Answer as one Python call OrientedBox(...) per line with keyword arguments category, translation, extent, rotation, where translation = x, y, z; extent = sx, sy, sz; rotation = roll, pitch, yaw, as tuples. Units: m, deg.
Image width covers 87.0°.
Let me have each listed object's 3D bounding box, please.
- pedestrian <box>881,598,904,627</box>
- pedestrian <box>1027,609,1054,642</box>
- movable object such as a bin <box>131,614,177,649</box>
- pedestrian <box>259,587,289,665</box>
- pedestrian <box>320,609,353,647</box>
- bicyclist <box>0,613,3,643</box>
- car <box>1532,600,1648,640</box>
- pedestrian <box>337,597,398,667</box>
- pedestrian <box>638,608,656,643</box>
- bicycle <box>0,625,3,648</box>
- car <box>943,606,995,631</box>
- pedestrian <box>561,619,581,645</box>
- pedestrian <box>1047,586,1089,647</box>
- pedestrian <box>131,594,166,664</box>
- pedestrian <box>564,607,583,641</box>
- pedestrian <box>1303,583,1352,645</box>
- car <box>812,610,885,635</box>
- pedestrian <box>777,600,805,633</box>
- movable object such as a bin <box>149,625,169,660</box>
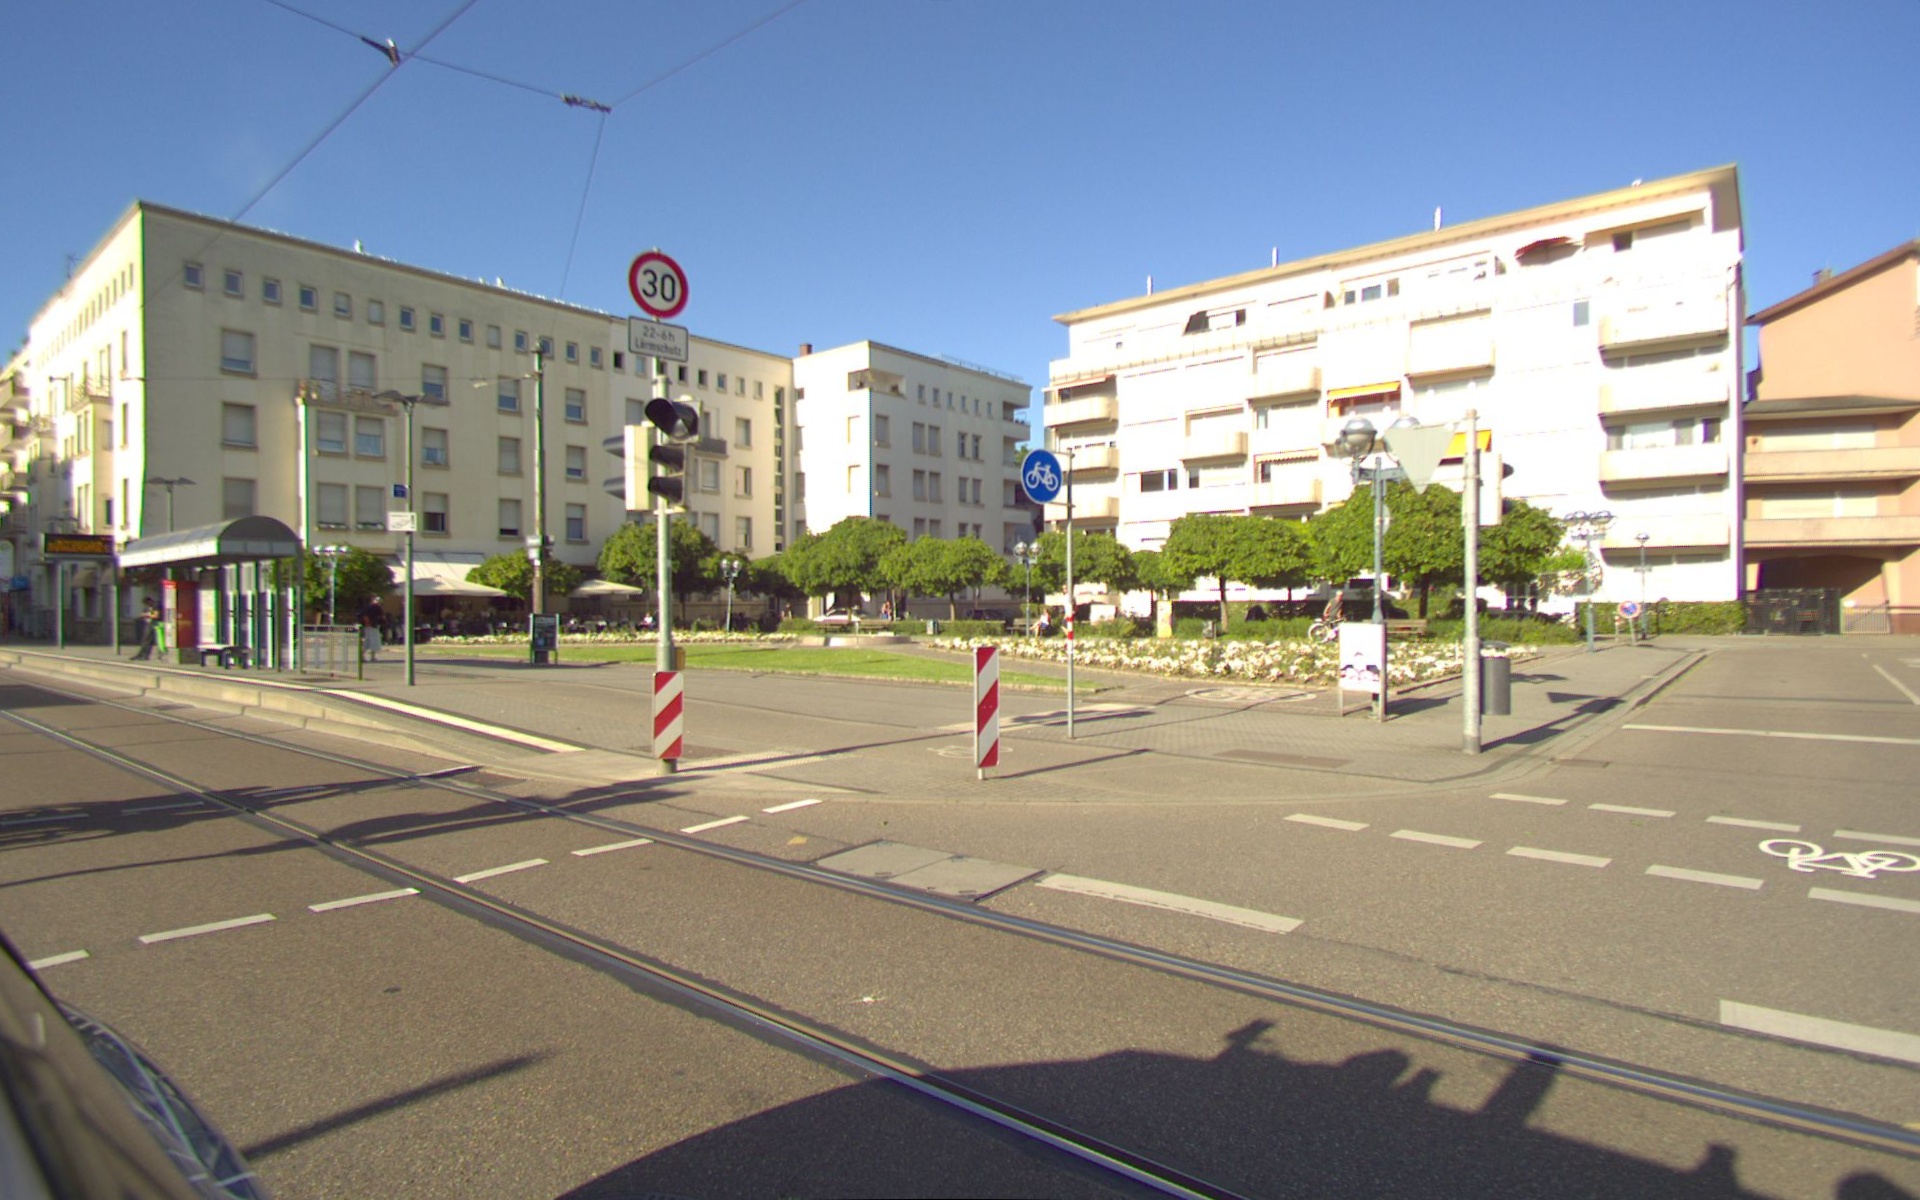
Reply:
OrientedBox(category="pedestrian", translation=(-4.647, 0.859, 69.503), extent=(1.090, 2.029, 1.079), rotation=(-1, -1, 39))
OrientedBox(category="pedestrian", translation=(3.332, 1.049, 41.793), extent=(0.678, 1.370, 1.039), rotation=(-1, -1, 35))
OrientedBox(category="movable object such as a bin", translation=(-33.609, 1.309, 42.223), extent=(1.127, 1.410, 1.302), rotation=(-1, -1, 39))
OrientedBox(category="pedestrian", translation=(-16.574, 0.633, 24.450), extent=(0.526, 1.873, 0.423), rotation=(-1, -3, 43))
OrientedBox(category="pedestrian", translation=(-27.837, 1.269, 45.172), extent=(0.755, 1.657, 1.054), rotation=(-4, -4, 35))
OrientedBox(category="bicyclist", translation=(-48.369, 1.401, 50.479), extent=(0.876, 1.466, 0.819), rotation=(0, 0, 41))
OrientedBox(category="car", translation=(22.570, 0.702, 36.304), extent=(3.310, 1.364, 1.627), rotation=(-1, -1, 42))
OrientedBox(category="pedestrian", translation=(-14.778, 0.789, 25.245), extent=(0.971, 1.693, 0.985), rotation=(-1, -1, 33))
OrientedBox(category="pedestrian", translation=(-16.196, 1.320, 52.326), extent=(0.710, 1.750, 0.673), rotation=(-2, -3, 1))
OrientedBox(category="bicycle", translation=(-48.339, 1.826, 50.451), extent=(1.976, 1.121, 0.720), rotation=(-1, 0, 41))
OrientedBox(category="car", translation=(0.521, 1.106, 60.723), extent=(2.931, 1.497, 1.399), rotation=(-1, -1, 40))
OrientedBox(category="pedestrian", translation=(-19.502, 1.611, 50.714), extent=(0.672, 1.280, 0.636), rotation=(-4, -4, 35))
OrientedBox(category="pedestrian", translation=(3.334, 0.494, 31.175), extent=(0.932, 1.831, 0.871), rotation=(0, -1, -39))
OrientedBox(category="pedestrian", translation=(-20.636, 0.736, 25.734), extent=(0.607, 1.731, 0.542), rotation=(-1, -3, 43))
OrientedBox(category="pedestrian", translation=(-20.513, 1.262, 53.674), extent=(0.677, 1.750, 0.671), rotation=(-3, -4, 13))
OrientedBox(category="pedestrian", translation=(12.405, 0.478, 34.153), extent=(1.232, 2.029, 1.207), rotation=(-1, -1, 40))
OrientedBox(category="car", translation=(-6.075, 1.223, 54.949), extent=(3.712, 1.310, 1.973), rotation=(-1, -1, 40))
OrientedBox(category="pedestrian", translation=(-9.451, 0.916, 56.747), extent=(1.076, 1.801, 1.166), rotation=(-1, -1, 27))
OrientedBox(category="movable object such as a bin", translation=(-19.932, 1.050, 25.179), extent=(0.416, 0.866, 0.332), rotation=(-1, -1, 43))
